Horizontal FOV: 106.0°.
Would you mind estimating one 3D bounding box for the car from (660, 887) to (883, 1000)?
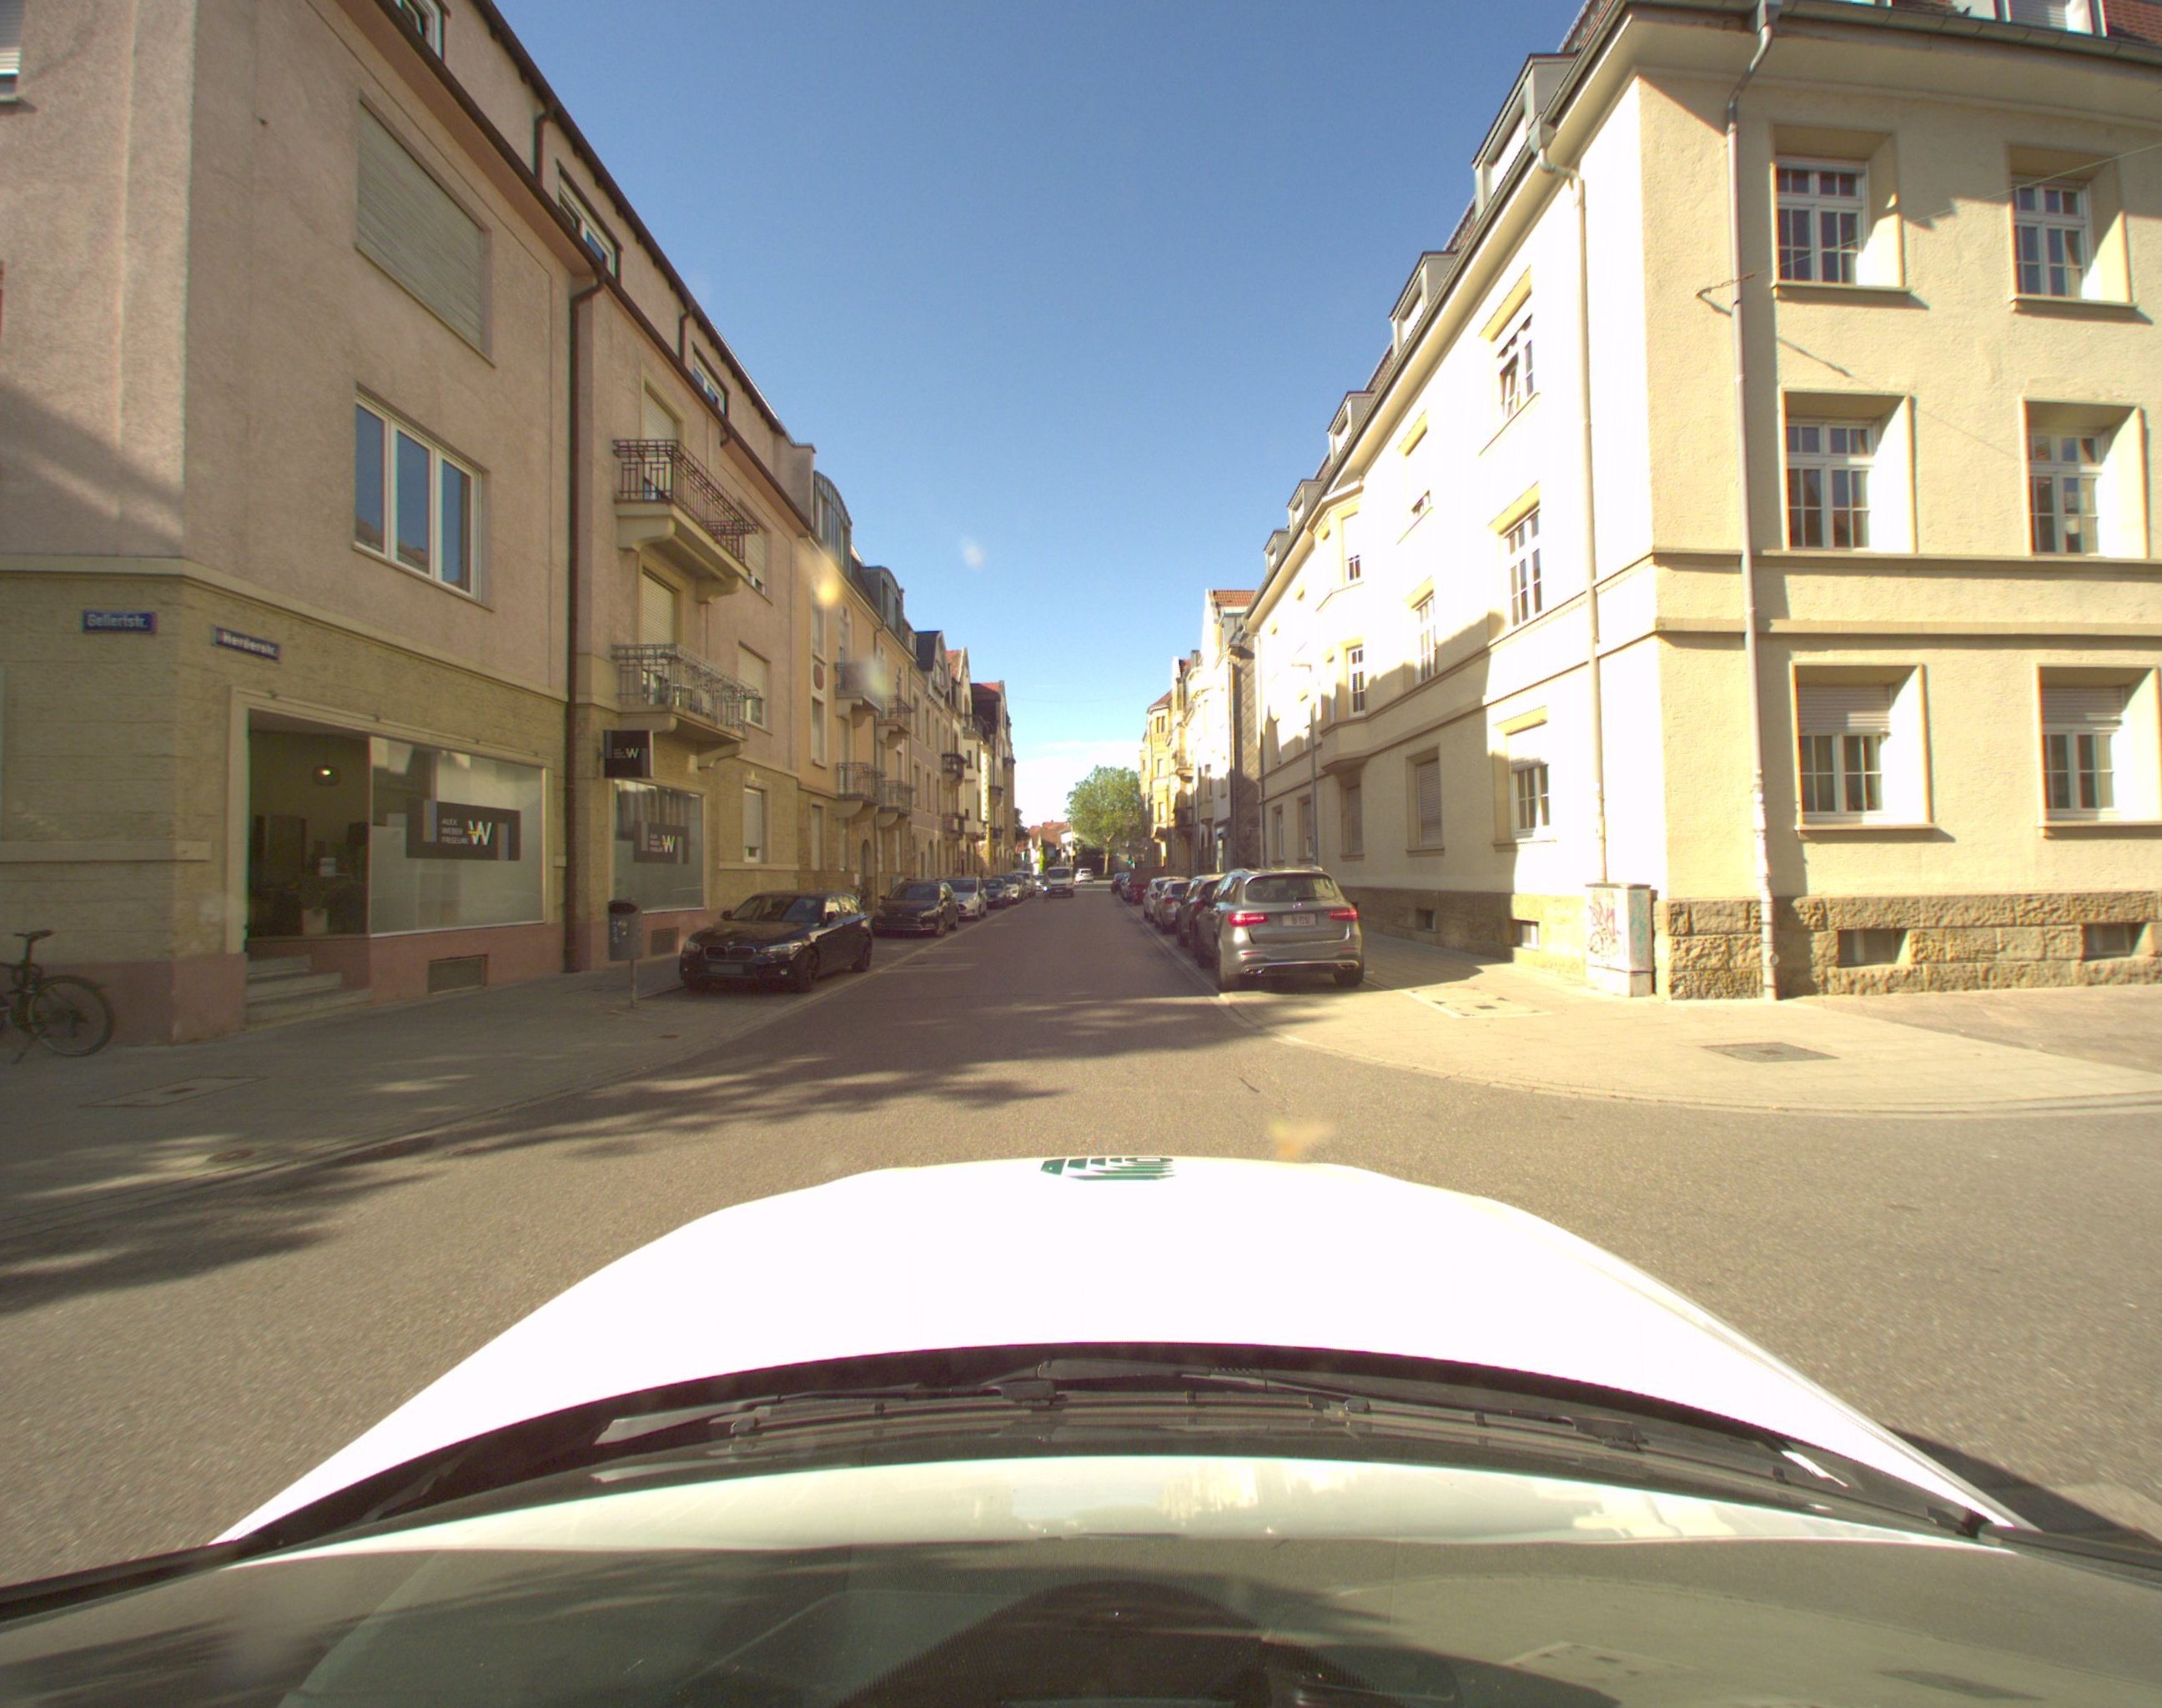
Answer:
[{"bbox_3d":[-4.573,1.258,12.811,1.673,1.427,4.275,1,-2,2],"label":"car"}]

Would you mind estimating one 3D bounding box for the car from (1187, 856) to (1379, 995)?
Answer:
[{"bbox_3d":[2.816,0.997,12.504,1.905,1.645,4.775,-2,-3,3],"label":"car"}]

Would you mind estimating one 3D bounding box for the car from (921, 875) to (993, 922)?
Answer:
[{"bbox_3d":[-4.551,1.625,30.635,1.997,1.619,4.485,1,-2,0],"label":"car"}]

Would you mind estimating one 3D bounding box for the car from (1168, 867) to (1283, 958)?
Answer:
[{"bbox_3d":[2.893,1.174,17.122,1.739,1.608,4.028,-2,-3,1],"label":"car"}]

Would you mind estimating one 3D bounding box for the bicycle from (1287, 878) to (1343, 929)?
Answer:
[{"bbox_3d":[6.251,1.293,21.874,0.759,1.247,2.591,-1,-1,0],"label":"bicycle"}]

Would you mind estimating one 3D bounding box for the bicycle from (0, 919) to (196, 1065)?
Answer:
[{"bbox_3d":[-9.019,1.171,7.022,1.896,1.135,0.646,0,0,-7],"label":"bicycle"}]

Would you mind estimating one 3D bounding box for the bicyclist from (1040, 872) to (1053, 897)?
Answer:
[{"bbox_3d":[-1.938,1.729,46.341,0.660,1.386,0.753,-3,-2,-1],"label":"bicyclist"}]

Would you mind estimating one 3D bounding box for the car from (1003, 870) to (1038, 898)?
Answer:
[{"bbox_3d":[-4.067,2.026,55.321,1.997,1.788,4.485,1,-2,0],"label":"car"}]

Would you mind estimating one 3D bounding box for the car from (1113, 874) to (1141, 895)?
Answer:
[{"bbox_3d":[3.372,2.265,60.183,1.832,1.432,4.028,-2,-3,1],"label":"car"}]

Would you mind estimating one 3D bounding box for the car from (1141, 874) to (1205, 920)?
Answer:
[{"bbox_3d":[3.157,1.503,28.573,1.832,1.432,4.028,-2,-3,1],"label":"car"}]

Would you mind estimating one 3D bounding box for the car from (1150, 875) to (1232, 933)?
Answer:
[{"bbox_3d":[3.030,1.392,23.183,1.832,1.432,4.028,-2,-3,1],"label":"car"}]

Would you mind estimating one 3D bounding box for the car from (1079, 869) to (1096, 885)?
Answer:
[{"bbox_3d":[0.795,2.891,100.162,1.997,1.914,4.486,1,-2,0],"label":"car"}]

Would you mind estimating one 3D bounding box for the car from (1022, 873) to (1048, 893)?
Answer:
[{"bbox_3d":[-3.930,2.505,70.524,1.997,1.605,4.485,1,-2,0],"label":"car"}]

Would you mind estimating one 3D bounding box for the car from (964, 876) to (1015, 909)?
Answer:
[{"bbox_3d":[-4.373,1.855,39.625,1.972,1.483,4.326,1,-2,0],"label":"car"}]

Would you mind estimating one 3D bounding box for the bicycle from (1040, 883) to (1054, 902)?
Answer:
[{"bbox_3d":[-1.930,2.188,46.308,0.660,1.019,2.065,-3,-2,0],"label":"bicycle"}]

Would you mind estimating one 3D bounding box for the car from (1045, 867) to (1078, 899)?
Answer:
[{"bbox_3d":[-1.239,1.910,53.356,1.997,2.000,4.485,1,-2,0],"label":"car"}]

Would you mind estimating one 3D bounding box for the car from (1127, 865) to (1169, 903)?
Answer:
[{"bbox_3d":[3.335,1.564,41.374,1.832,1.787,4.028,-2,-3,1],"label":"car"}]

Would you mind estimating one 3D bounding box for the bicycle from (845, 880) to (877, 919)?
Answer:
[{"bbox_3d":[-7.700,1.572,28.573,0.539,1.301,1.867,0,-1,2],"label":"bicycle"}]

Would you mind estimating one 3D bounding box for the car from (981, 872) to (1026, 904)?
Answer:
[{"bbox_3d":[-4.133,1.826,44.284,1.997,1.619,4.485,1,-2,0],"label":"car"}]

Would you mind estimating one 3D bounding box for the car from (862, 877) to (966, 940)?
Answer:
[{"bbox_3d":[-4.624,1.476,23.264,1.997,1.582,4.485,1,-2,0],"label":"car"}]

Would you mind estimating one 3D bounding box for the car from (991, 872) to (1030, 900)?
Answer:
[{"bbox_3d":[-4.242,1.965,49.785,1.997,1.619,4.485,1,-2,0],"label":"car"}]
